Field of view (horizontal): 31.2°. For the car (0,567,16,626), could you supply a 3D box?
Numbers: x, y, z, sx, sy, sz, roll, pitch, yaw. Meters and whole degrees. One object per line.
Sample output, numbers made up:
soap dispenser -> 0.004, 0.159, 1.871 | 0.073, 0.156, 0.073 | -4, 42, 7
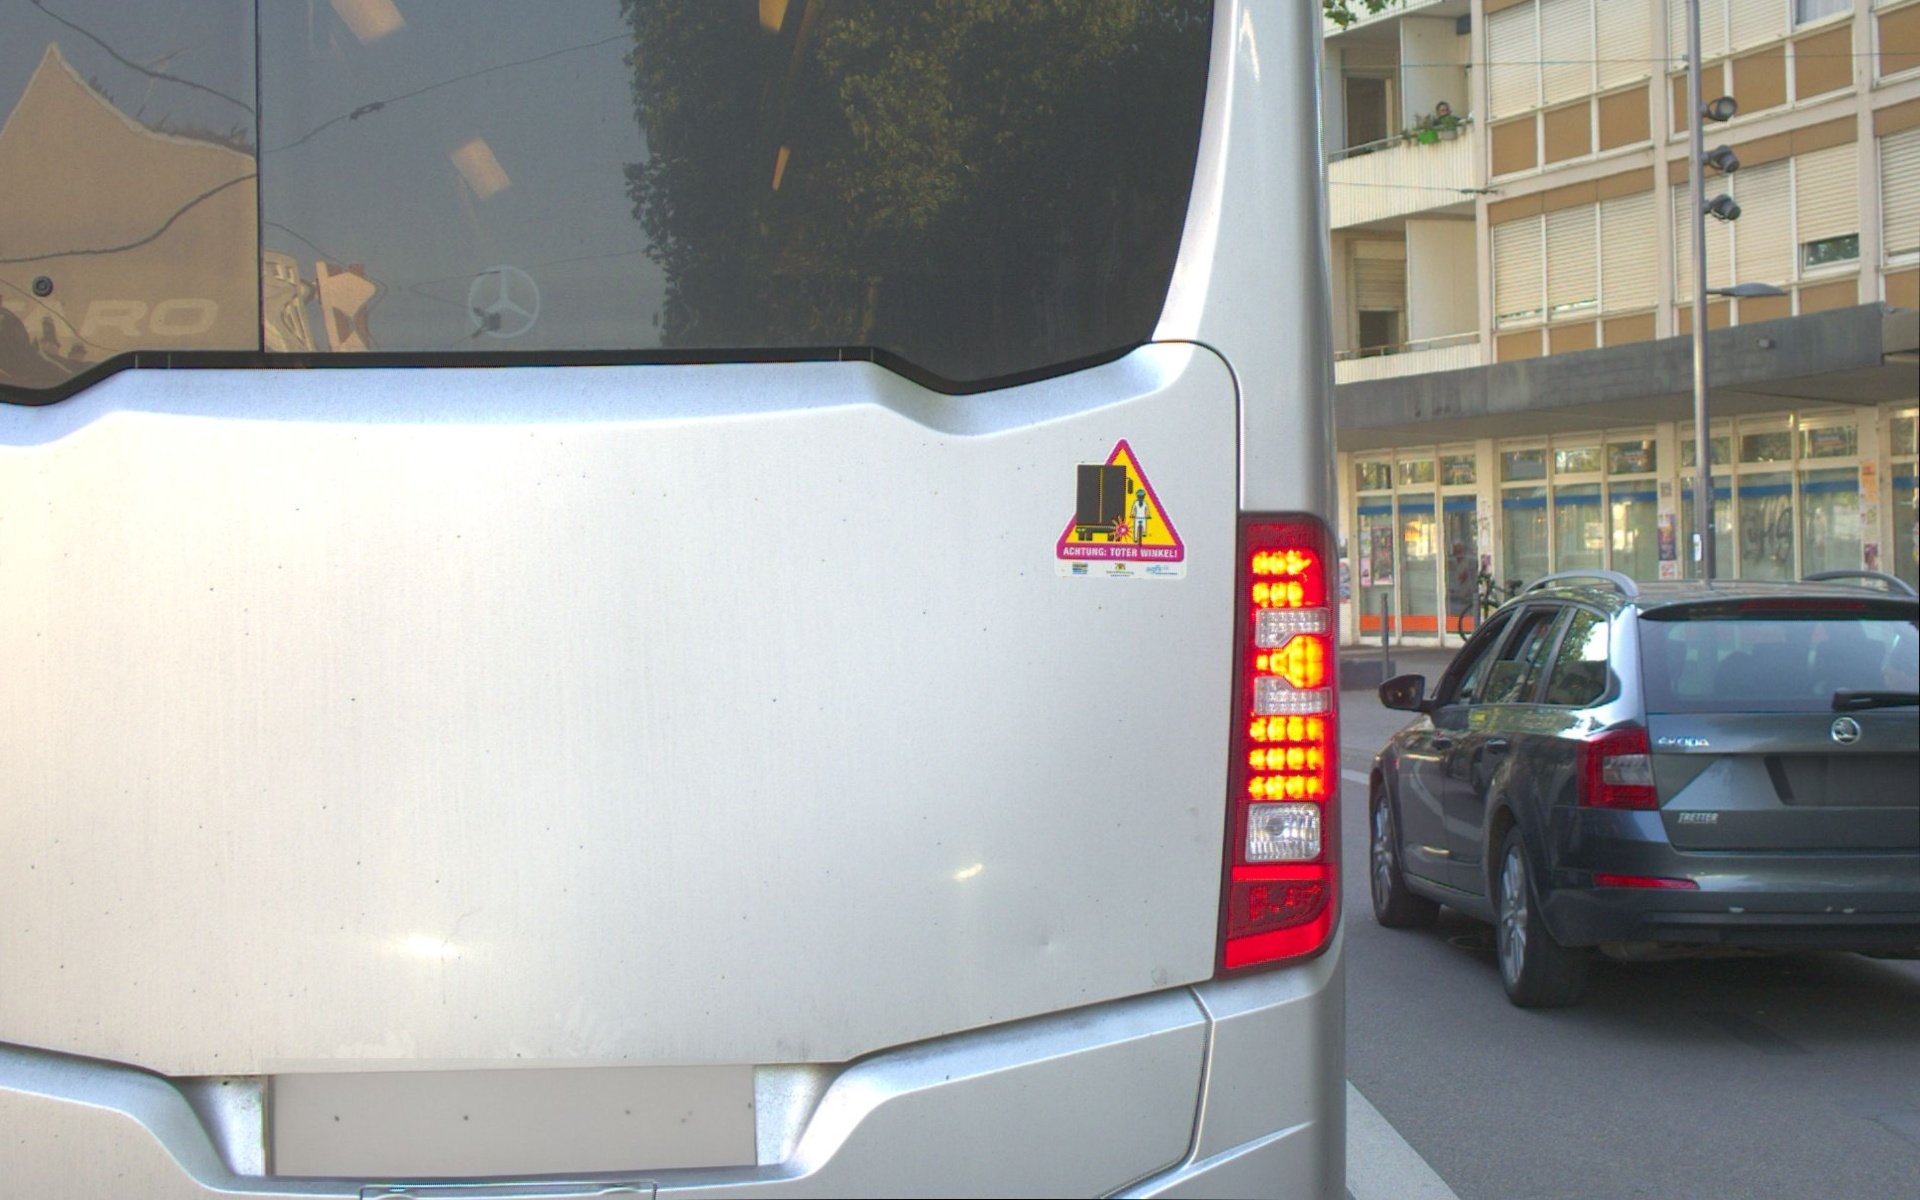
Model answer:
car -> -25.699, -0.040, 88.034 | 1.663, 1.463, 3.411 | -5, 4, -38

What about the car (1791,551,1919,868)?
car -> 5.499, 0.502, 15.980 | 1.778, 1.491, 4.568 | -3, 1, -5

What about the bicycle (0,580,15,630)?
bicycle -> -23.726, 0.113, 84.936 | 0.507, 1.207, 2.093 | -1, 1, -21

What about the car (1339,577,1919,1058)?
car -> 2.649, 0.657, 12.682 | 1.803, 1.469, 4.072 | 0, 1, -4

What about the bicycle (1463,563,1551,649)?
bicycle -> 7.220, 0.071, 45.448 | 0.437, 1.089, 1.462 | -4, 2, -20

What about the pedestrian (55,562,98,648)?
pedestrian -> -17.887, 0.093, 69.598 | 0.721, 1.719, 0.399 | -1, 1, 24

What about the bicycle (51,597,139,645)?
bicycle -> -17.657, 0.430, 70.192 | 1.843, 0.939, 0.463 | -1, 1, 24

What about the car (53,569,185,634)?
car -> -19.827, 0.020, 80.976 | 1.663, 1.390, 3.411 | -6, 4, -39

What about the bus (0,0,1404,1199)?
bus -> -0.931, -0.168, 9.909 | 2.657, 3.088, 10.217 | -1, 0, -2
